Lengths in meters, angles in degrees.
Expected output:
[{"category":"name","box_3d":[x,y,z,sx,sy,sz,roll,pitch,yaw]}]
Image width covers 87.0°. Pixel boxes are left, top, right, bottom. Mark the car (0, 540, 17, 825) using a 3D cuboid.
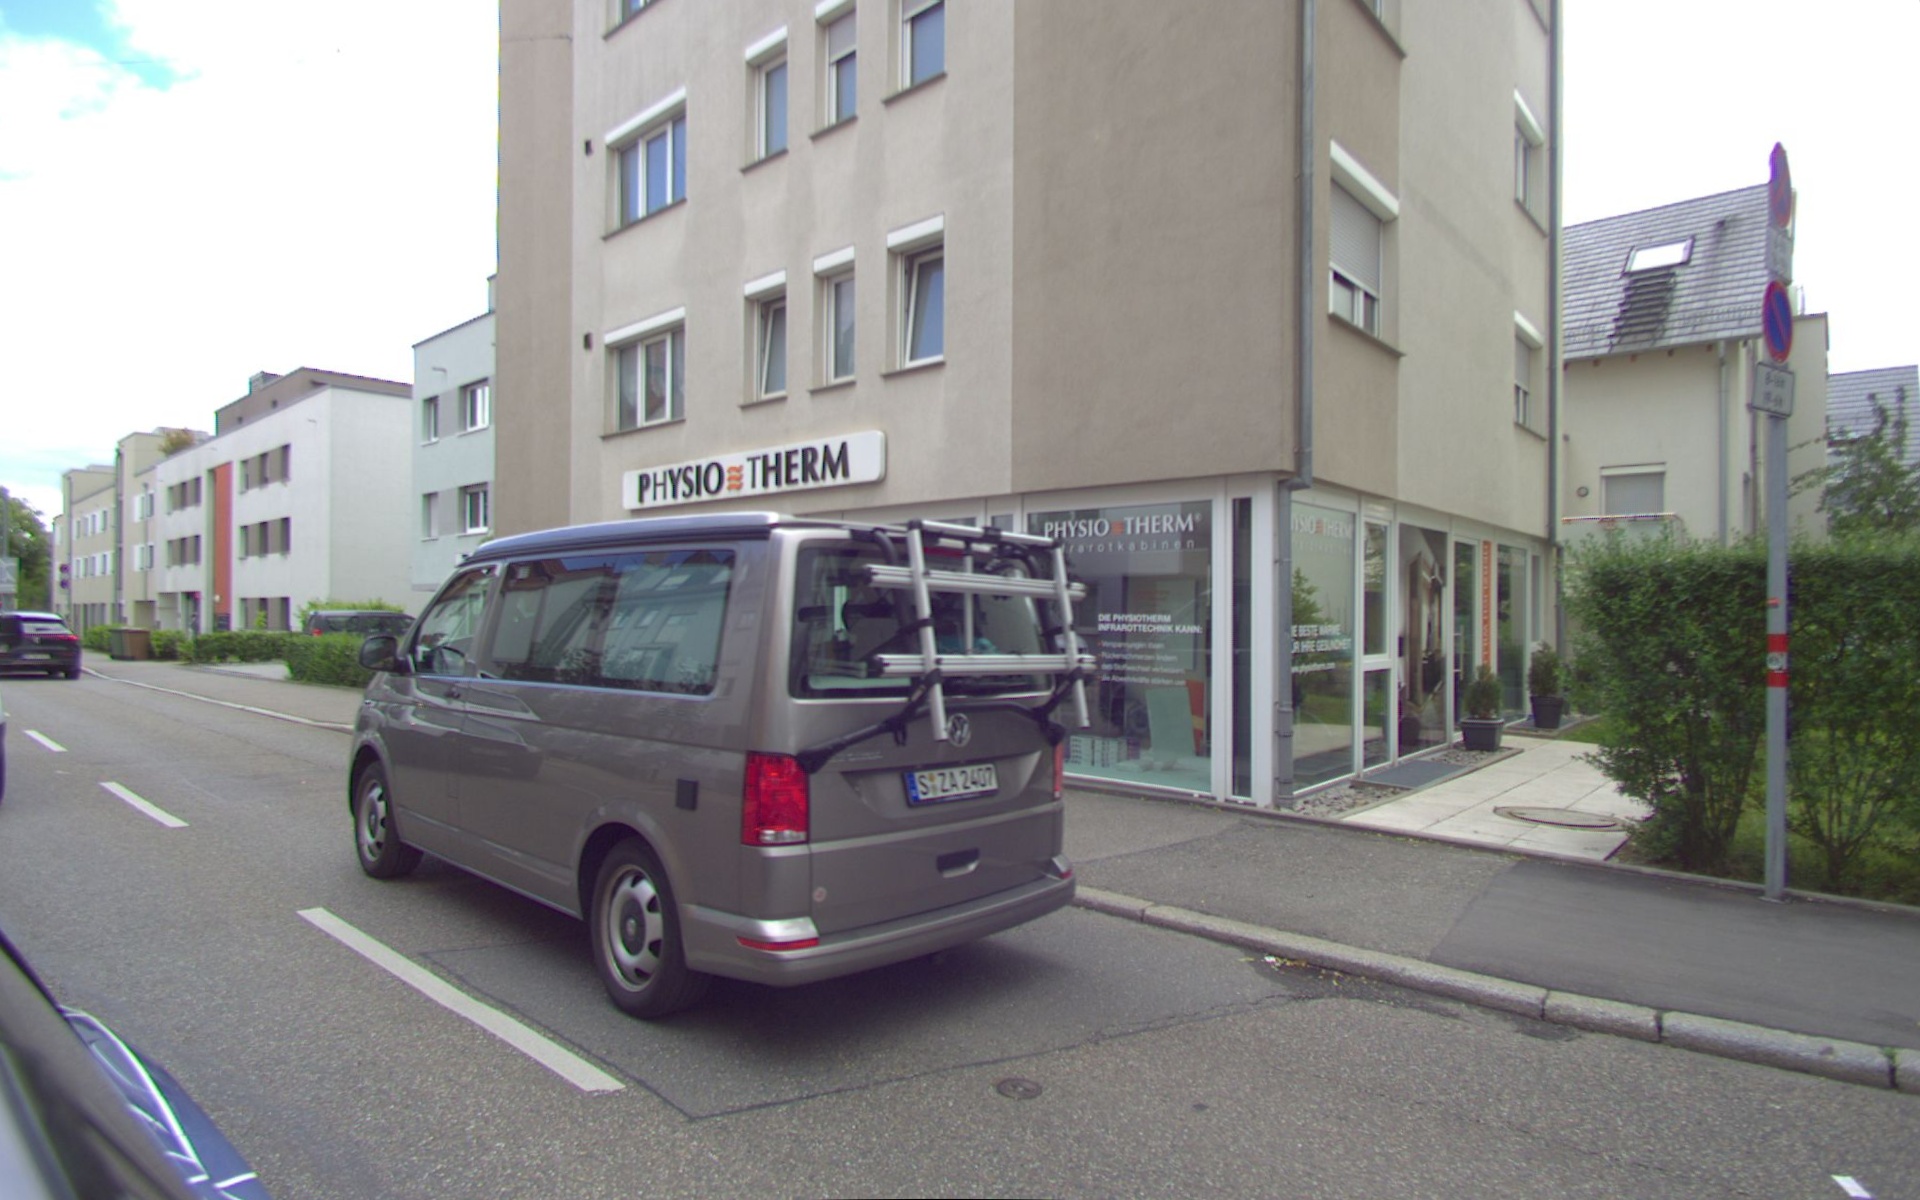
[{"category":"car","box_3d":[-9.282,0.599,8.113,5.084,2.013,1.940,-1,-2,40]}]
